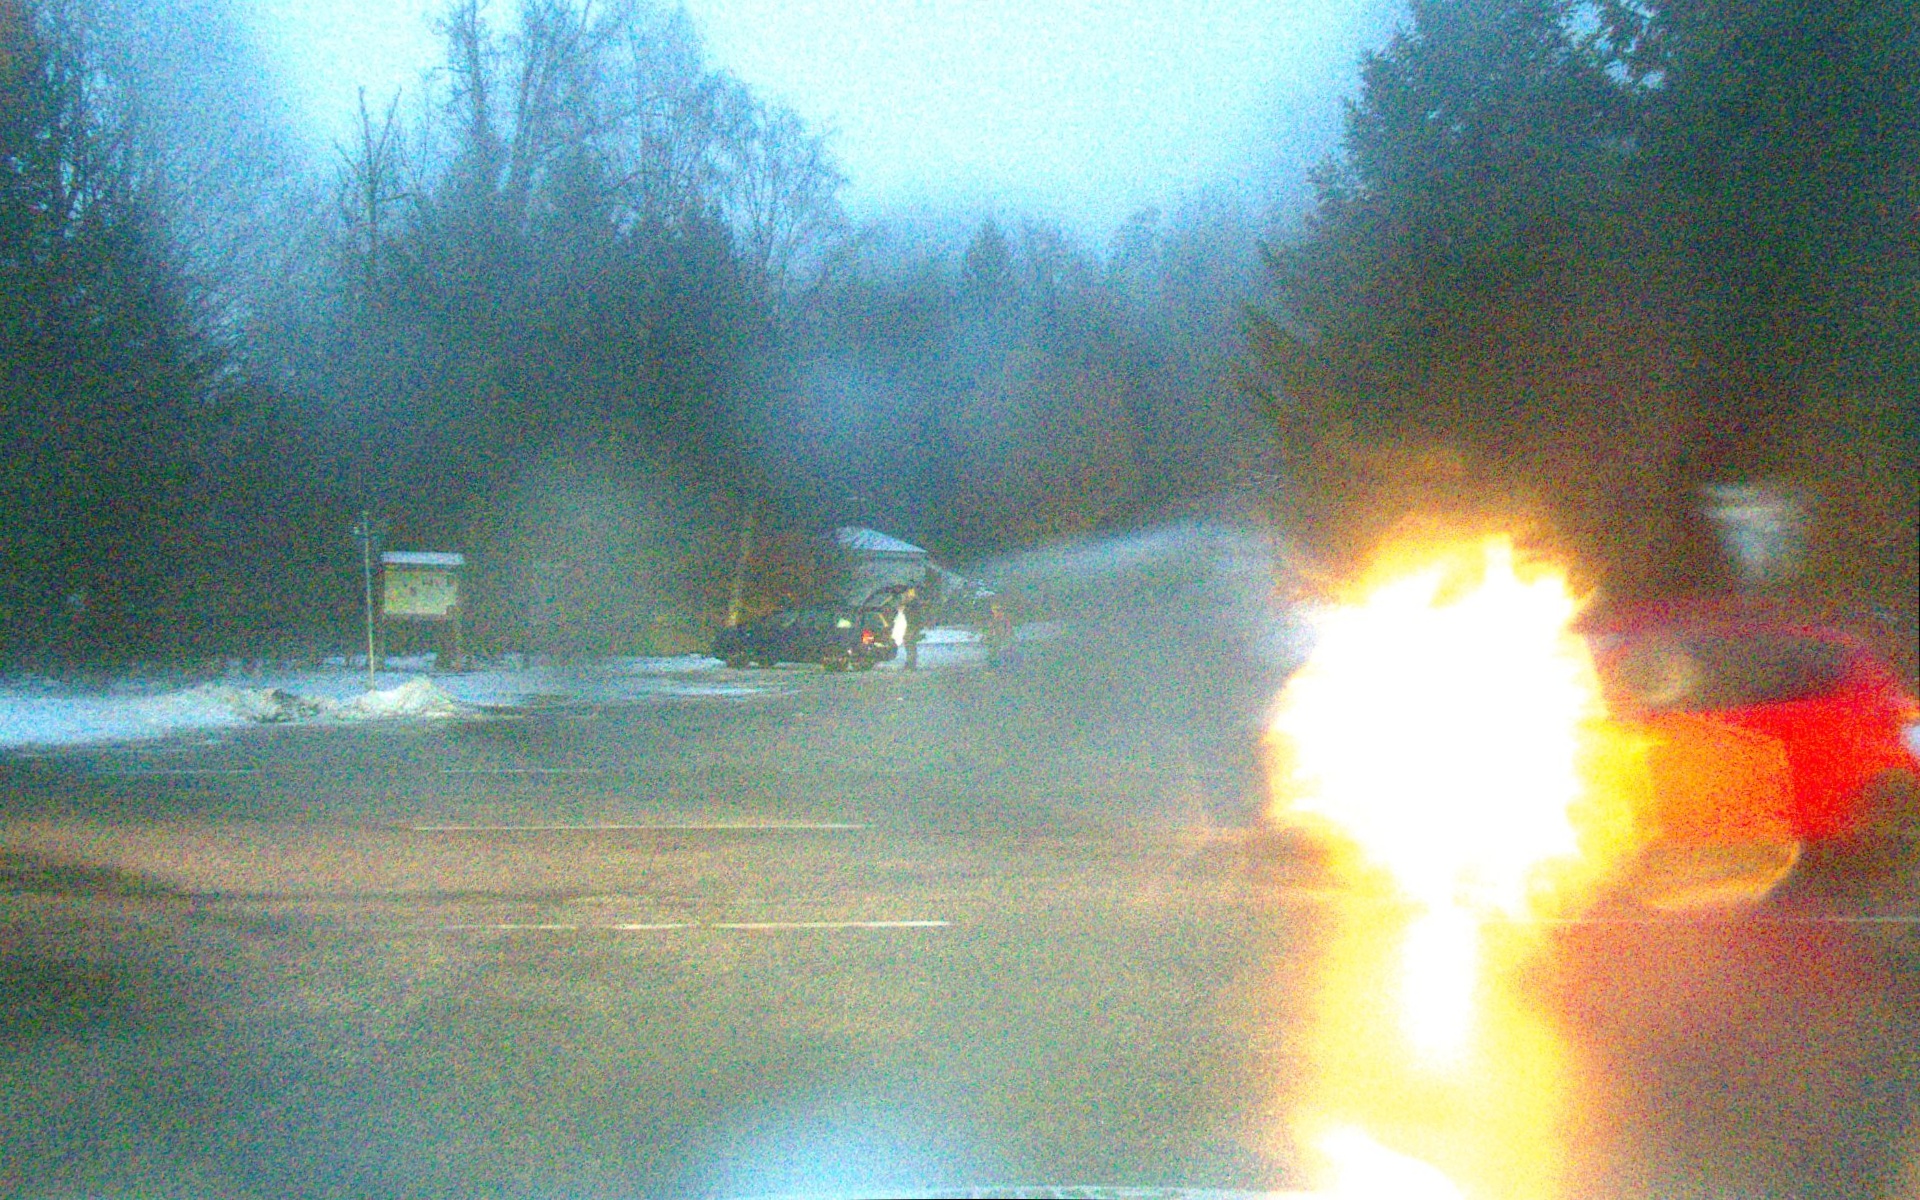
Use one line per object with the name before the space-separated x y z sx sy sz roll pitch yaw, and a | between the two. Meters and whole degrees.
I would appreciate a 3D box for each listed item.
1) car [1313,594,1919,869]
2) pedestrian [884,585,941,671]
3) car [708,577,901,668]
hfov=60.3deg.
car | 4.004 0.735 9.948 3.338 1.478 1.574 1 0 -9
pedestrian | -1.044 0.621 36.467 0.941 1.860 0.925 1 -2 20
car | -3.506 0.508 37.596 3.863 1.914 2.001 1 -1 16
